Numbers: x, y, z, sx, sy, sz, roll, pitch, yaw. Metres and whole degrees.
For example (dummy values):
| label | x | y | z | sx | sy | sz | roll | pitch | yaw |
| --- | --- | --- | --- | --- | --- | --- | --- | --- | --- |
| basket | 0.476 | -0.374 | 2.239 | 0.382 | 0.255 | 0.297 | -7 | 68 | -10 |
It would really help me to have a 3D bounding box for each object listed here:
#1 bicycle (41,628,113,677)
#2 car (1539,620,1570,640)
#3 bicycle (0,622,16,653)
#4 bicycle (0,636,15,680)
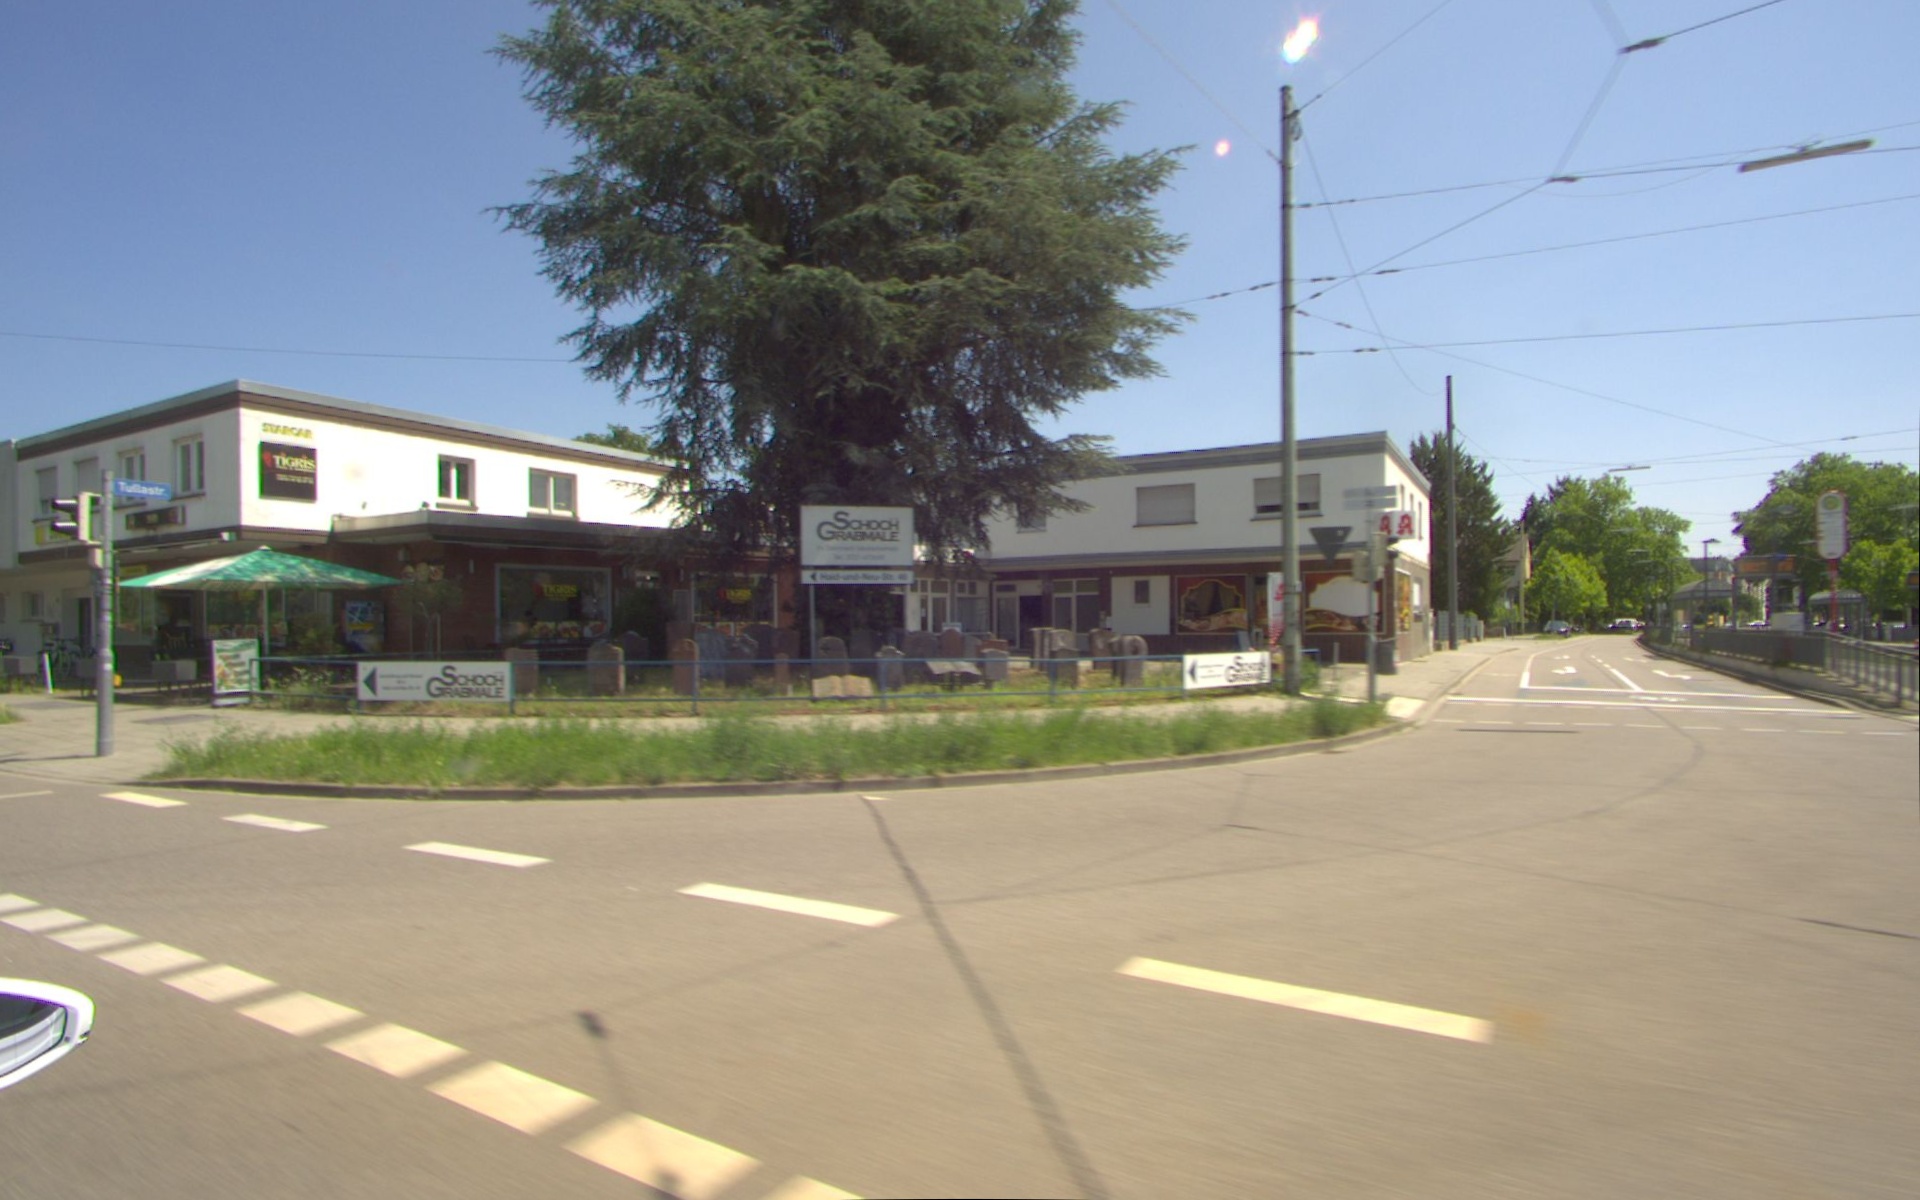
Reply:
| label | x | y | z | sx | sy | sz | roll | pitch | yaw |
| --- | --- | --- | --- | --- | --- | --- | --- | --- | --- |
| bicycle | -23.173 | 1.347 | 26.264 | 2.604 | 1.179 | 0.985 | 0 | -1 | 39 |
| car | 51.578 | 2.550 | 86.893 | 1.968 | 1.683 | 3.987 | -1 | -1 | 26 |
| bicycle | -34.099 | 1.333 | 35.360 | 1.835 | 1.078 | 0.507 | -1 | -2 | 28 |
| bicycle | -24.486 | 1.424 | 24.936 | 2.604 | 1.028 | 1.030 | 0 | -1 | 39 |
